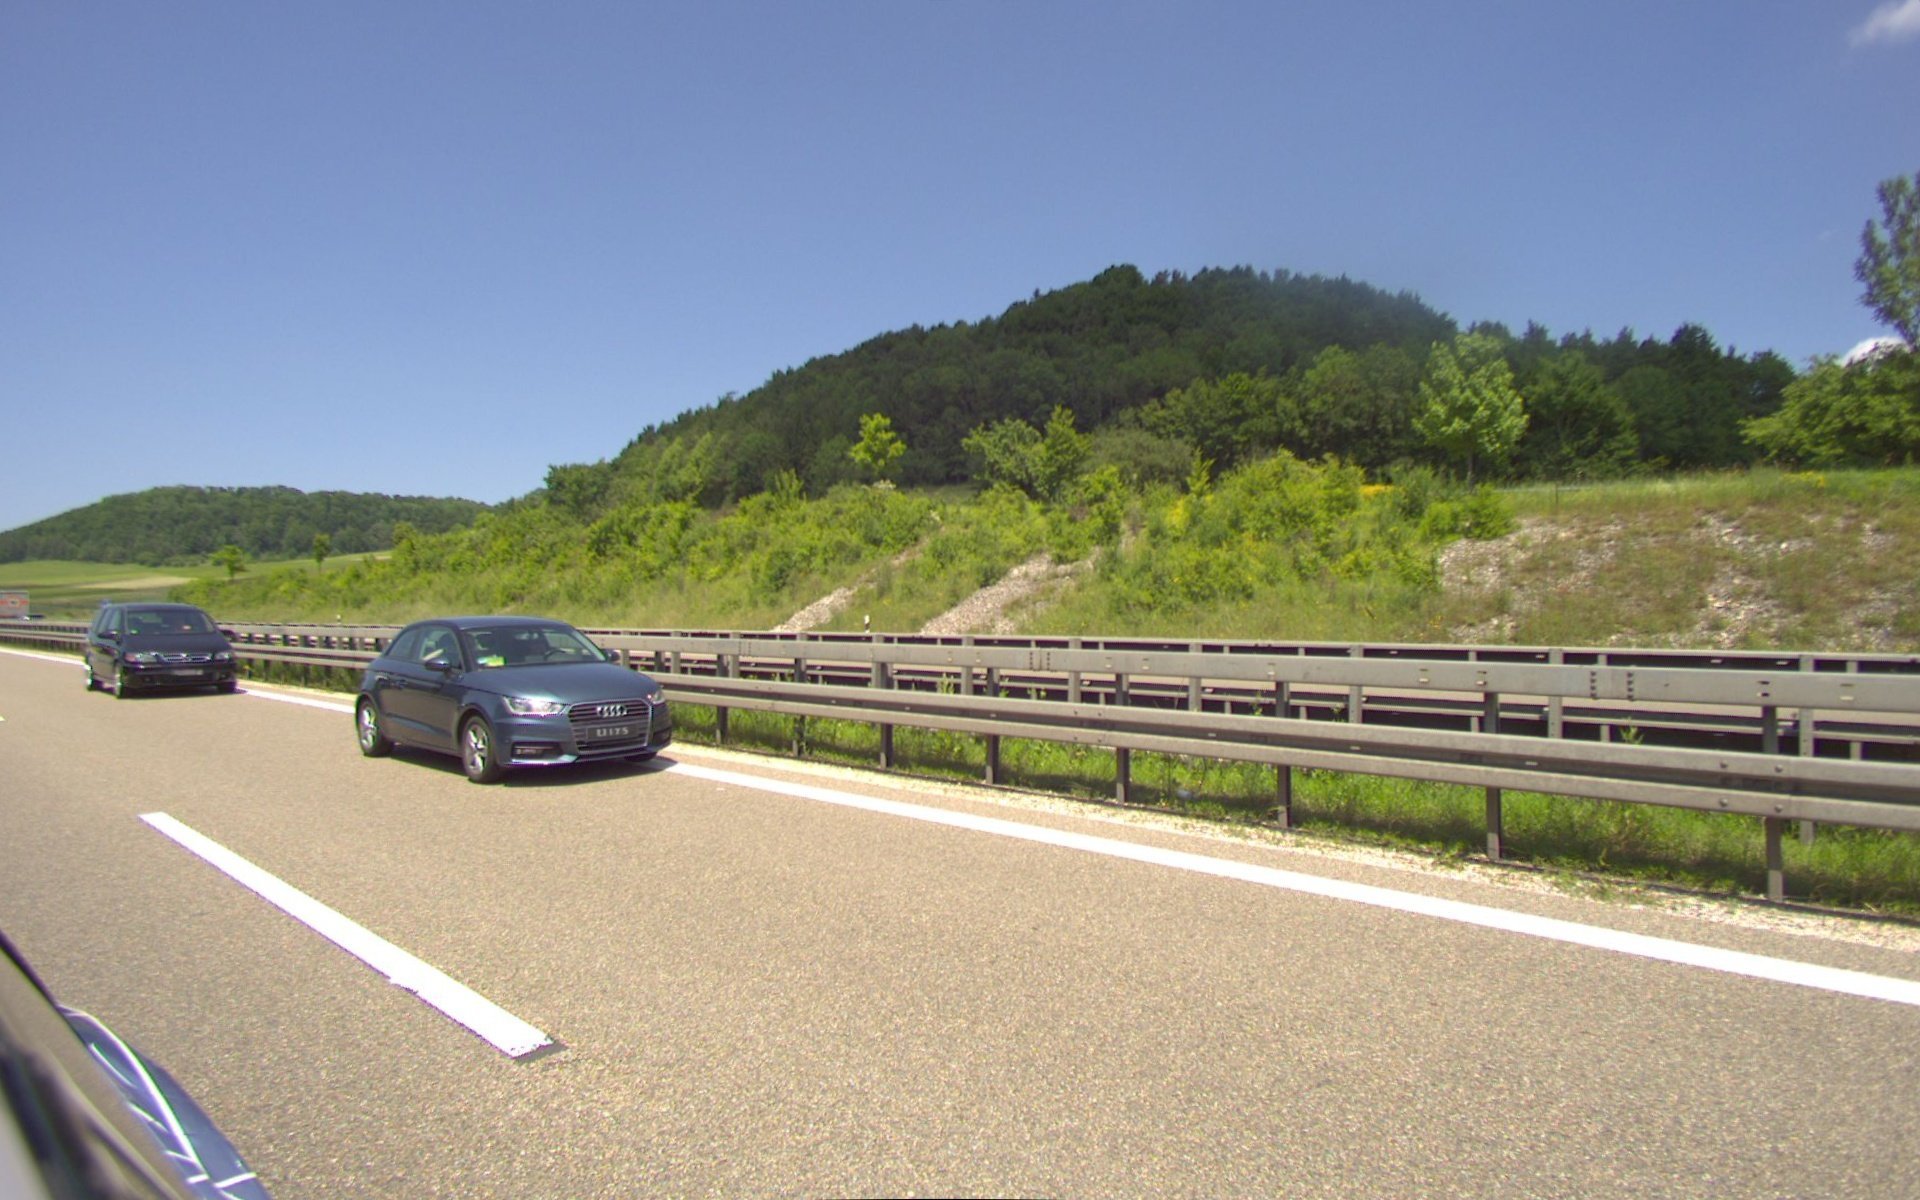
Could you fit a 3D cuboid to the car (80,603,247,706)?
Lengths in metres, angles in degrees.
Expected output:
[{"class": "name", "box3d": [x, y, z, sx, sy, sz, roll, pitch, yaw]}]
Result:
[{"class": "car", "box3d": [-14.589, 0.911, 18.438, 4.447, 1.647, 1.781, -1, -1, 44]}]

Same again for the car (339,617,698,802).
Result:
[{"class": "car", "box3d": [-4.341, 0.867, 9.658, 3.999, 1.399, 1.670, -1, -1, 42]}]

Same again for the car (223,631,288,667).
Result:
[{"class": "car", "box3d": [-37.825, 2.614, 54.289, 3.998, 1.725, 1.973, 0, 0, 41]}]

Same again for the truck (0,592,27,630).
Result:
[{"class": "truck", "box3d": [-107.347, 1.280, 113.022, 9.918, 4.134, 3.580, -1, -1, 41]}]
